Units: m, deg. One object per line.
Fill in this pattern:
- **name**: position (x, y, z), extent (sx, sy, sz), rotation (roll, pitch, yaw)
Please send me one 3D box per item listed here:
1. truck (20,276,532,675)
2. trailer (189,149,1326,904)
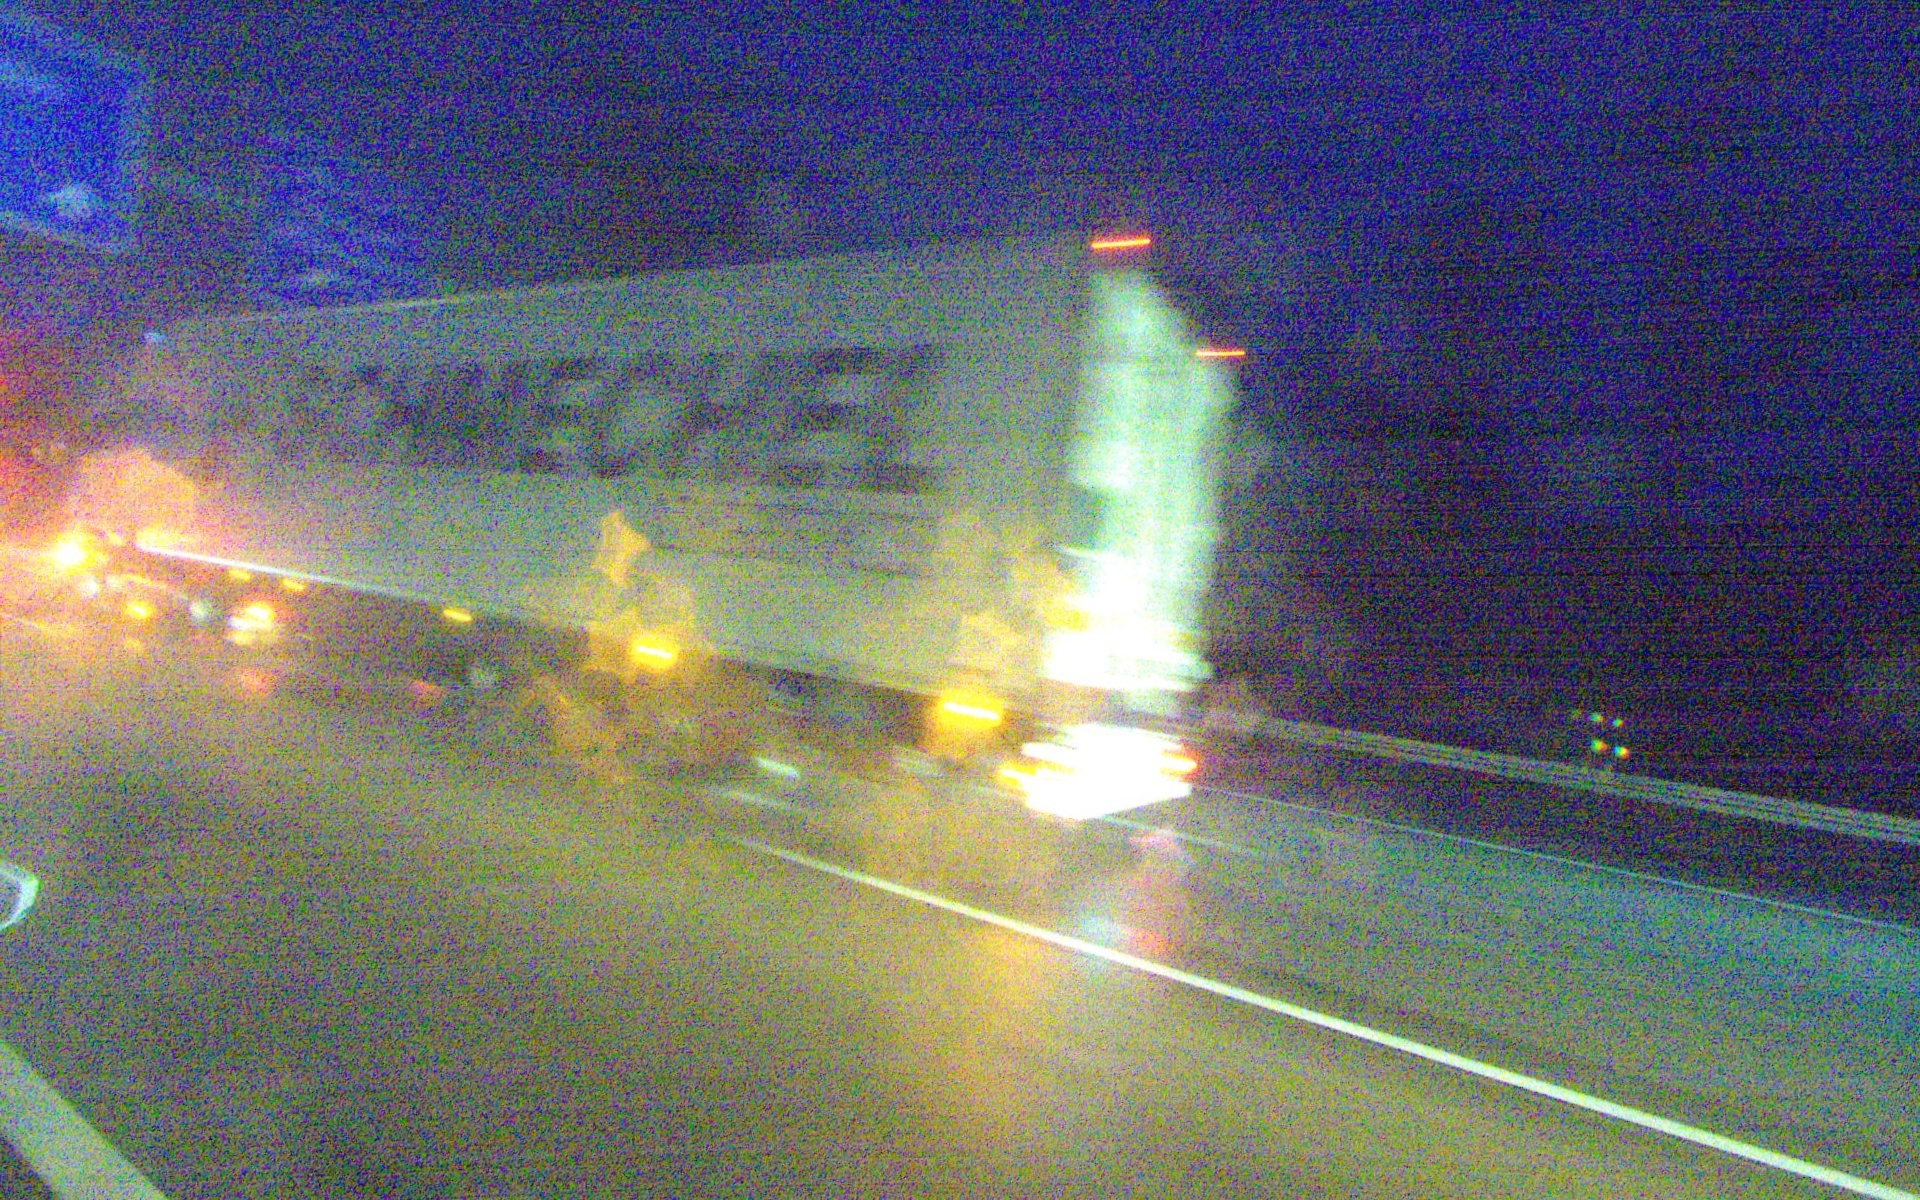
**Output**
- **truck**: position (-9.795, -1.634, 14.140), extent (7.324, 4.317, 2.808), rotation (7, -1, 31)
- **trailer**: position (-3.074, -0.870, 9.954), extent (11.895, 4.262, 2.808), rotation (7, -1, 32)
